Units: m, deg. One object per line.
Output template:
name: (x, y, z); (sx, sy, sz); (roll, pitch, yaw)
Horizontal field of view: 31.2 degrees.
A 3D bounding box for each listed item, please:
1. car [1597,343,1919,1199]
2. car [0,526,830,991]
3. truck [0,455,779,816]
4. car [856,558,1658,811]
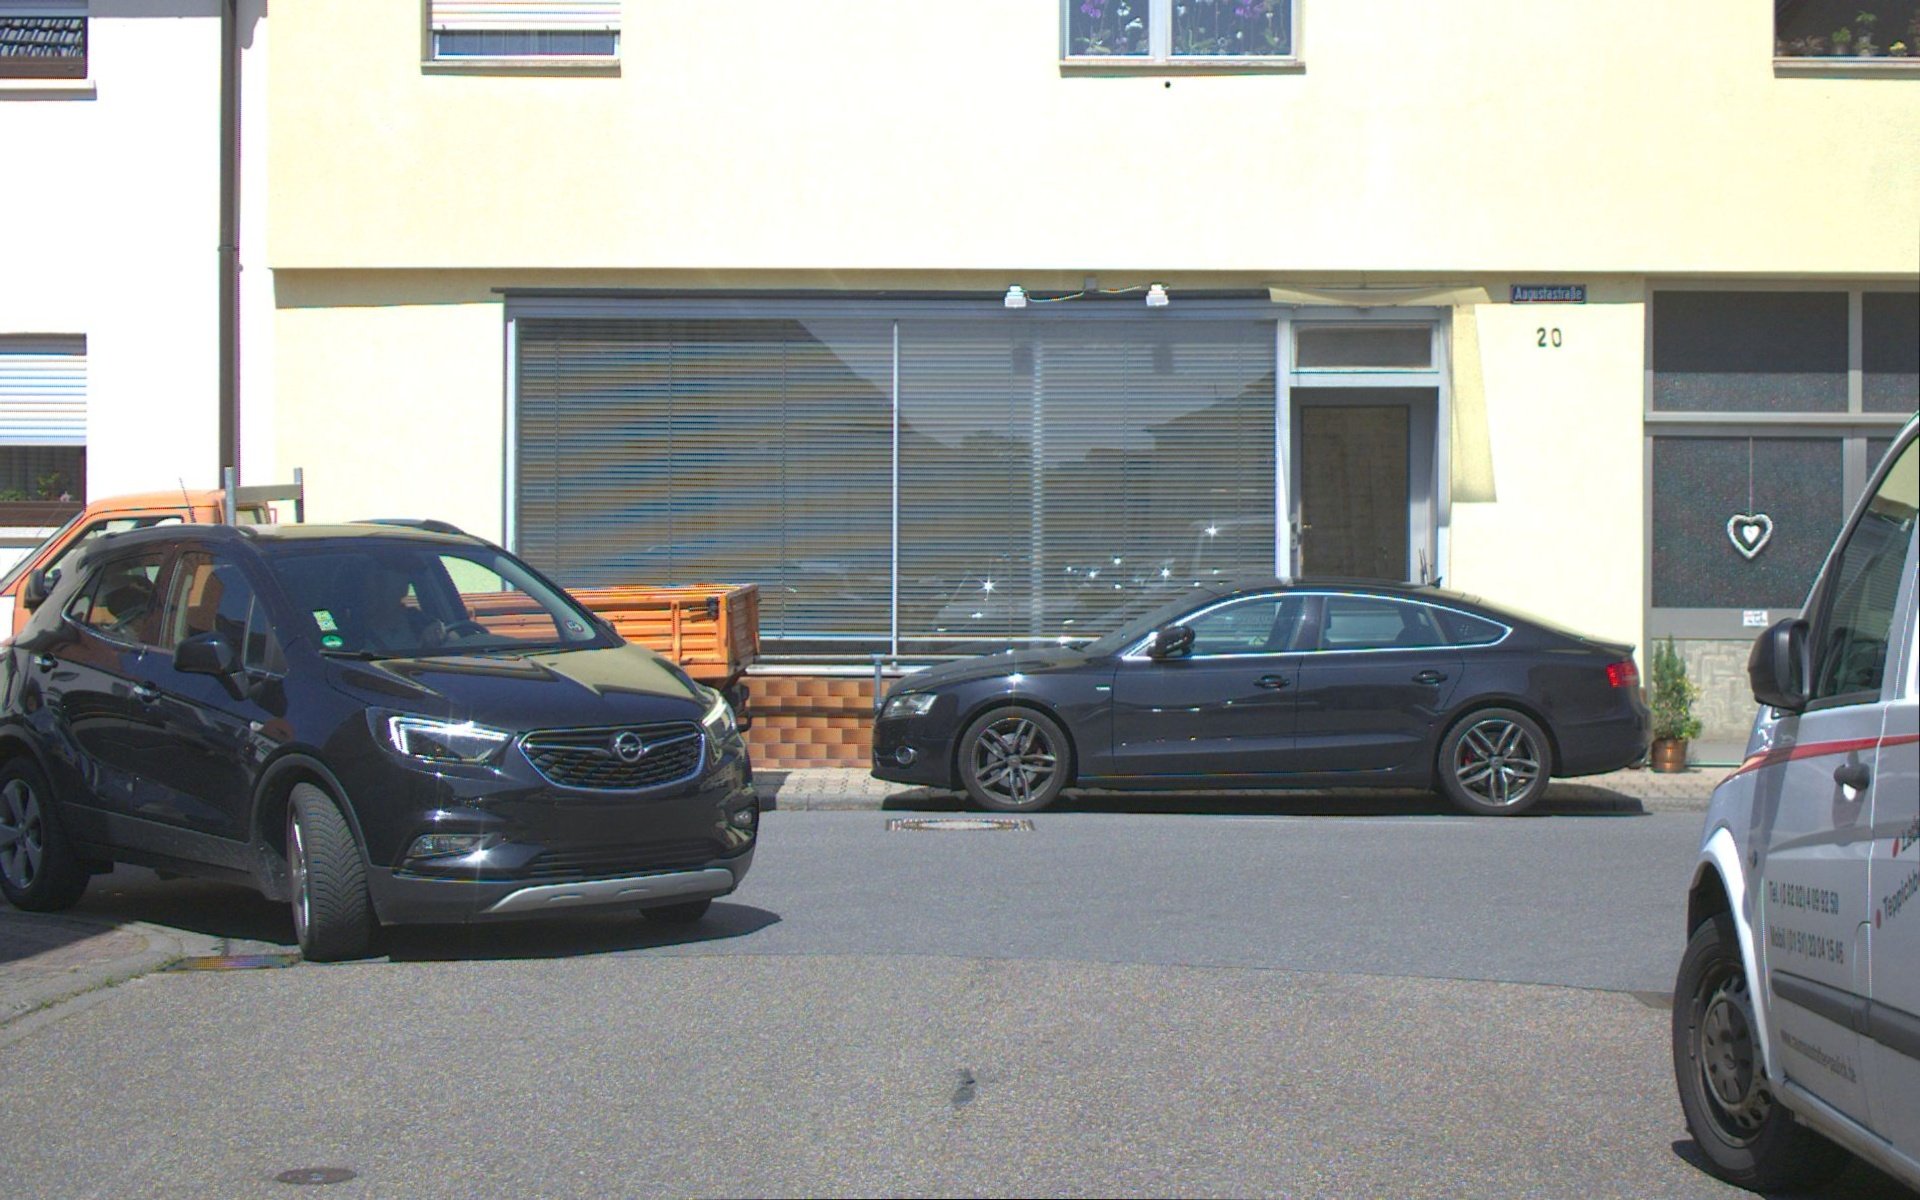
car: (2.665, 0.488, 6.437); (2.013, 1.832, 5.265); (2, 1, 1)
car: (-2.497, 0.509, 13.997); (1.757, 1.577, 4.280); (-2, 2, -38)
truck: (-3.727, 0.187, 20.902); (5.063, 2.007, 2.189); (1, 0, 2)
car: (1.718, 0.525, 20.816); (4.616, 1.389, 1.928); (1, -2, 0)
